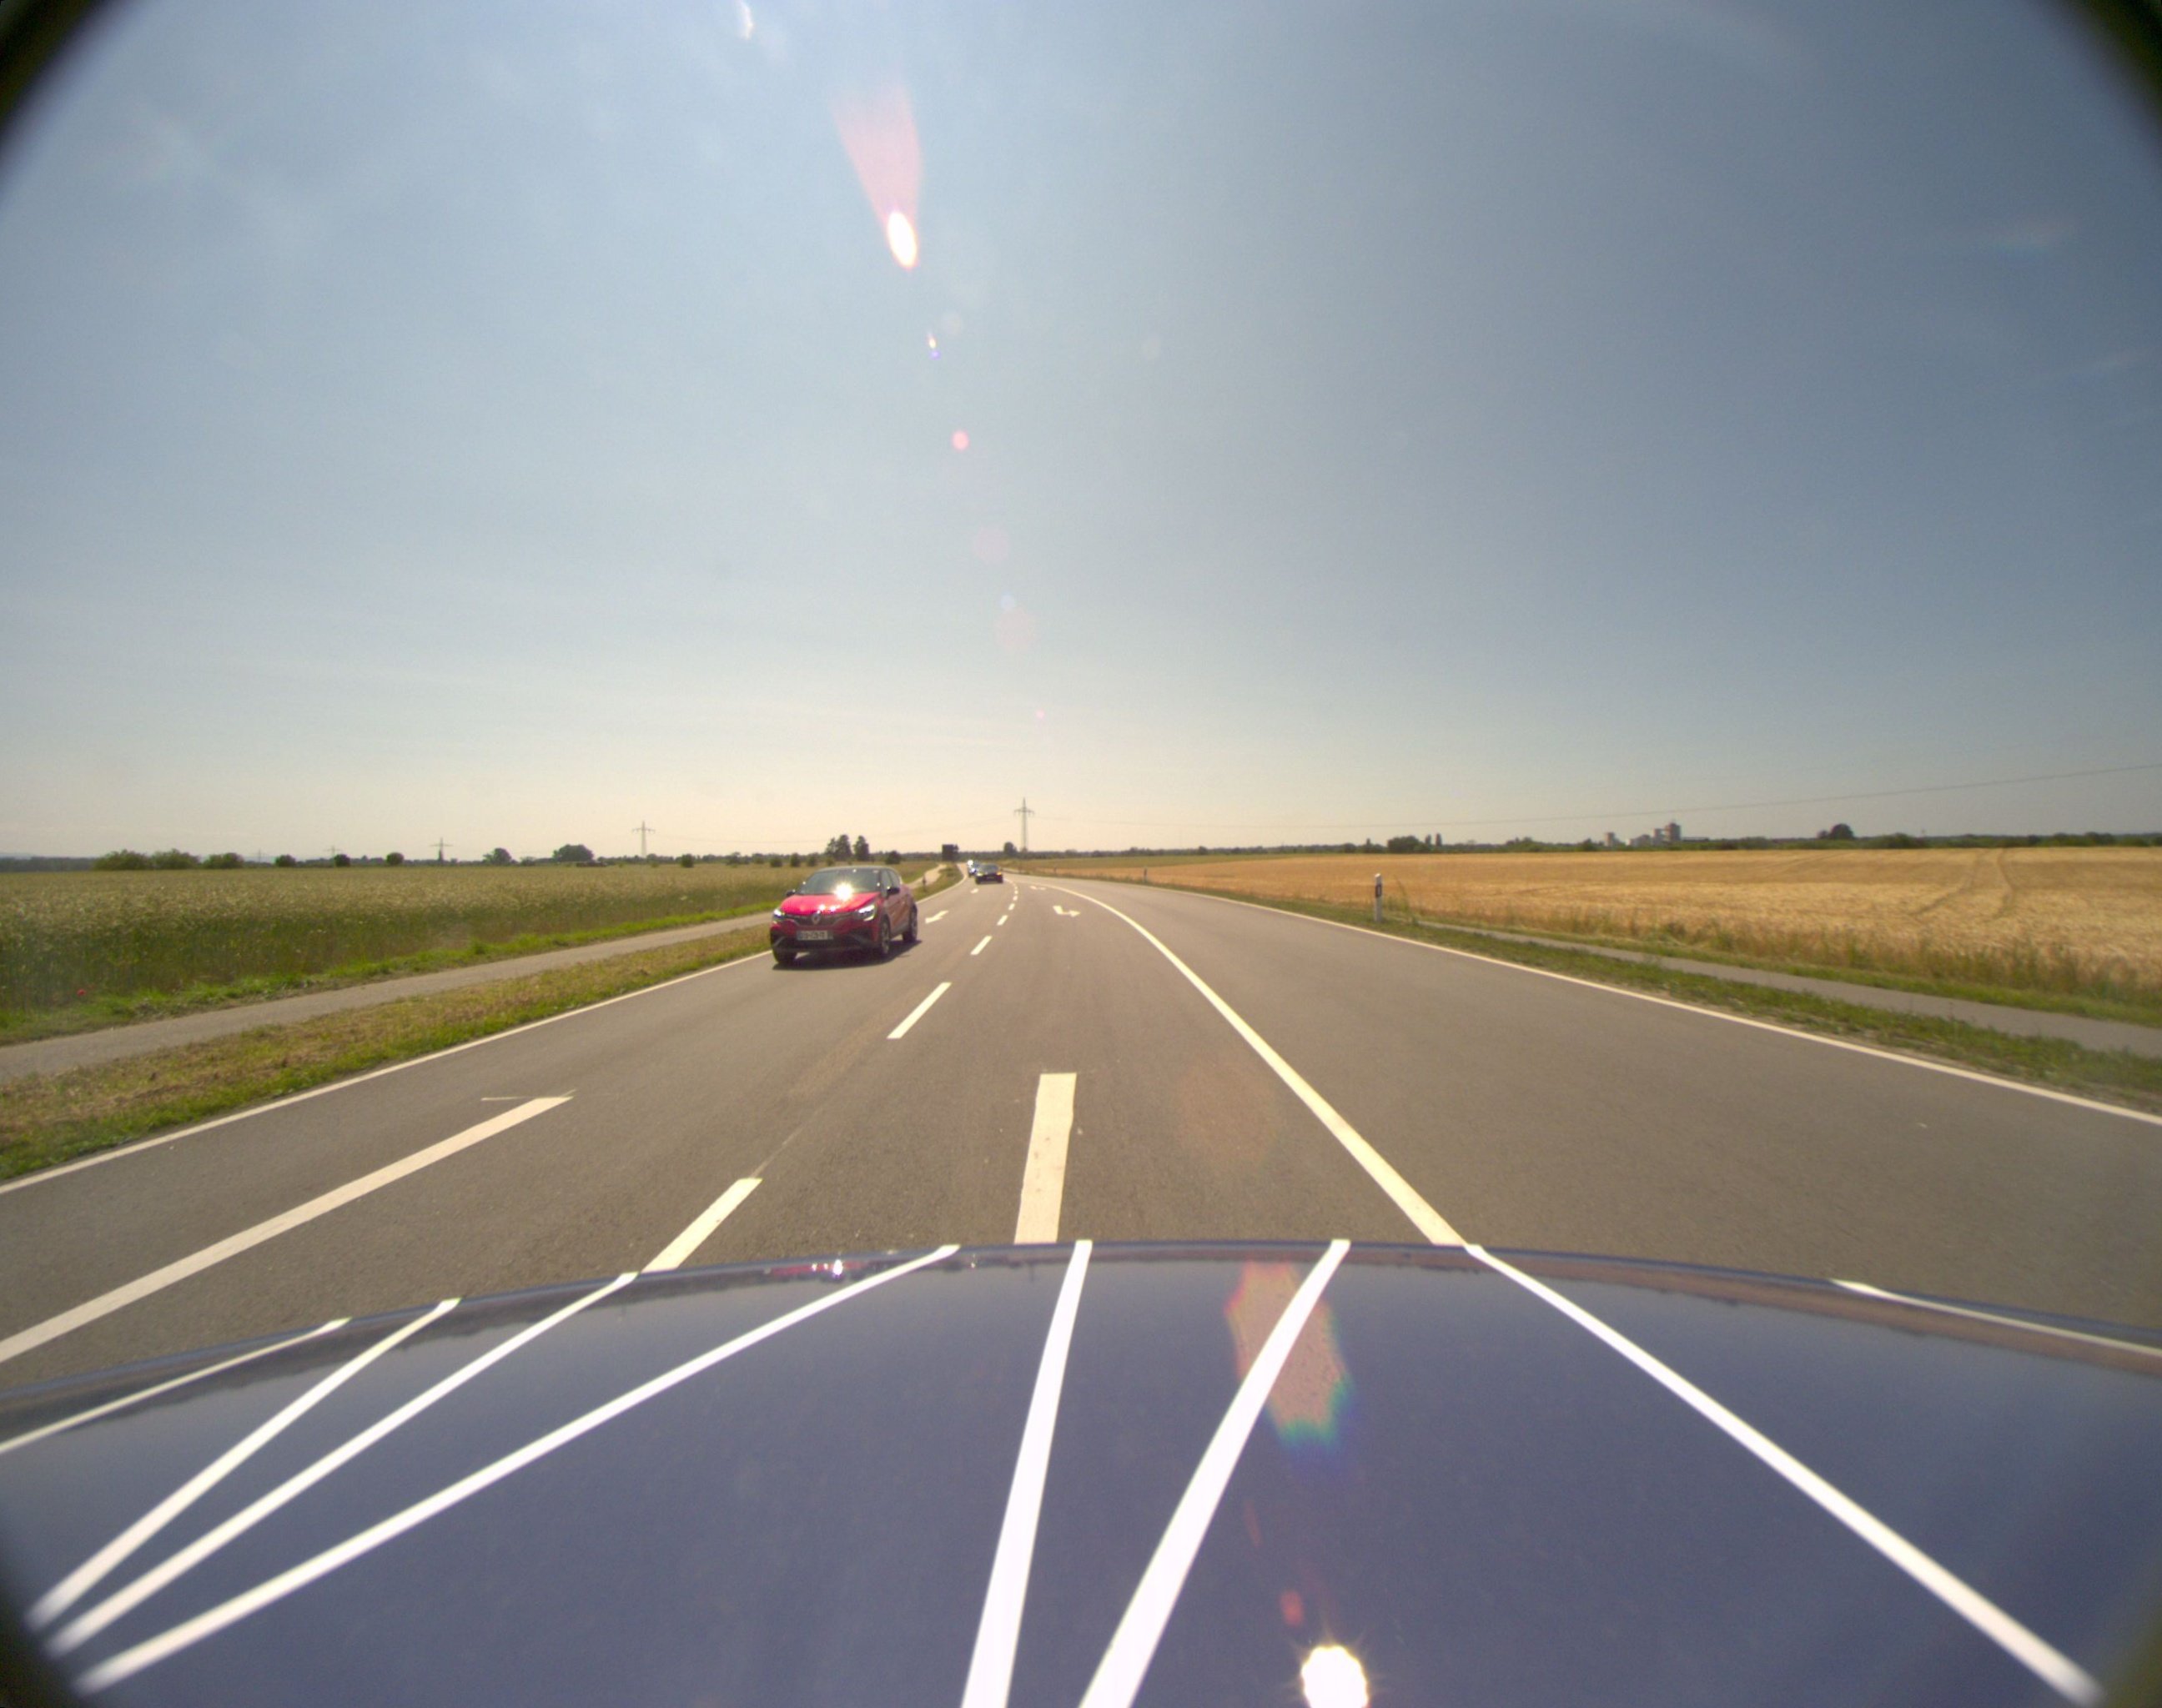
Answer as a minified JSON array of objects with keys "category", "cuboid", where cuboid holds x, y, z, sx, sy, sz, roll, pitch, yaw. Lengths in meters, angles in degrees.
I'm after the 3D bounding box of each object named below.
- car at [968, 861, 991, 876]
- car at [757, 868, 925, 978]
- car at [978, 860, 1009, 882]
[{"category":"car","cuboid":[-10.805,1.525,80.659,2.191,1.458,5.010,-2,0,-9]},{"category":"car","cuboid":[-4.189,1.108,14.044,1.827,1.543,4.448,-2,0,-3]},{"category":"car","cuboid":[-6.485,1.219,56.339,2.191,1.458,5.011,-2,0,-7]}]
